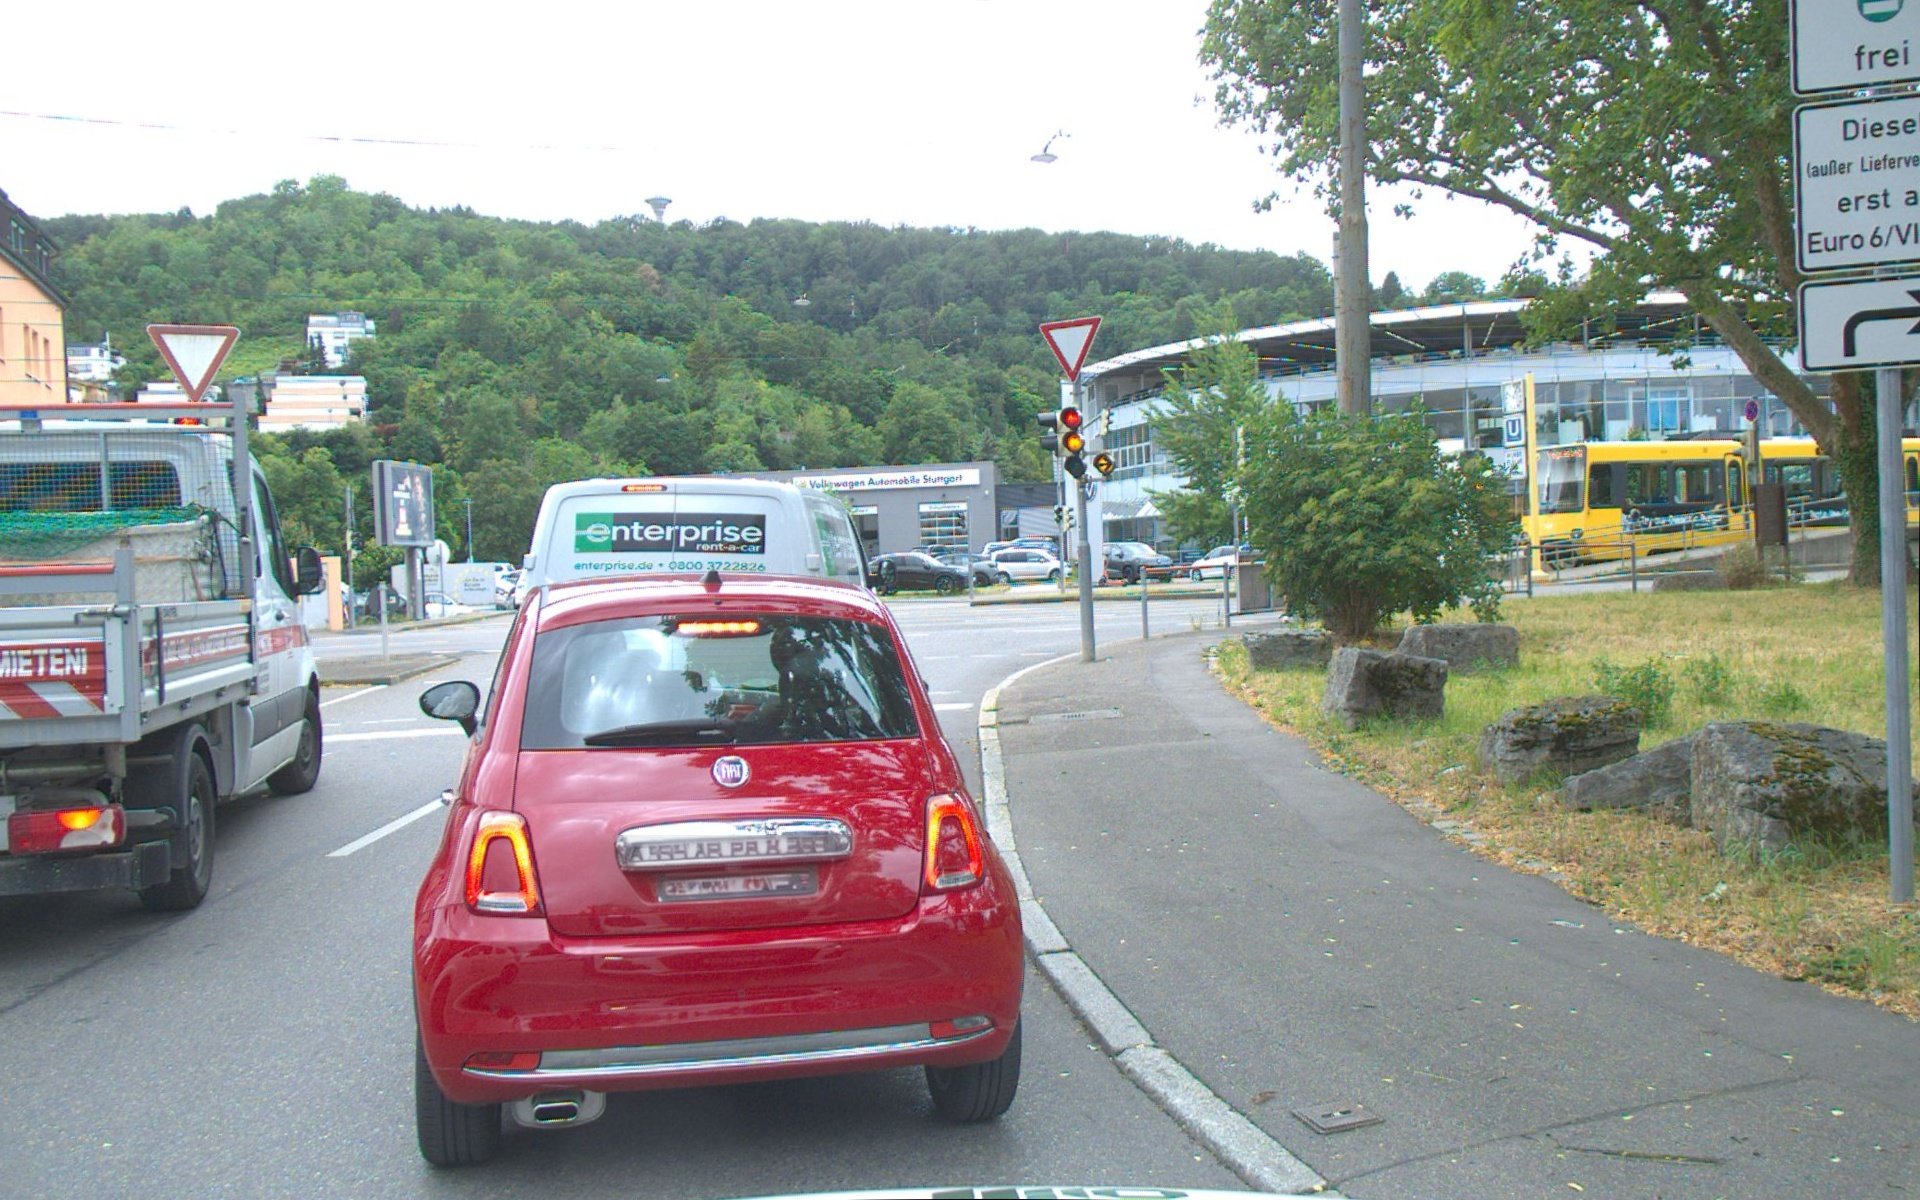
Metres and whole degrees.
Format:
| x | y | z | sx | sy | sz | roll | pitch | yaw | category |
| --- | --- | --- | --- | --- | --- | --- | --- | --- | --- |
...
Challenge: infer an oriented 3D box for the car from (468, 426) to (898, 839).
| x | y | z | sx | sy | sz | roll | pitch | yaw | category |
| --- | --- | --- | --- | --- | --- | --- | --- | --- | --- |
| -1.589 | 0.118 | 11.342 | 1.948 | 2.143 | 4.763 | -3 | 1 | 1 | car |

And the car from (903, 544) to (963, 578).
| x | y | z | sx | sy | sz | roll | pitch | yaw | category |
| --- | --- | --- | --- | --- | --- | --- | --- | --- | --- |
| -1.580 | -2.359 | 99.555 | 1.954 | 1.847 | 3.997 | -2 | 2 | 26 | car |

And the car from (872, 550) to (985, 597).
| x | y | z | sx | sy | sz | roll | pitch | yaw | category |
| --- | --- | --- | --- | --- | --- | --- | --- | --- | --- |
| -1.156 | -0.986 | 61.308 | 3.787 | 1.526 | 1.777 | -2 | 1 | 16 | car |

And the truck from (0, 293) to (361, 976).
| x | y | z | sx | sy | sz | roll | pitch | yaw | category |
| --- | --- | --- | --- | --- | --- | --- | --- | --- | --- |
| -4.820 | 0.128 | 8.671 | 2.381 | 2.439 | 6.008 | -3 | 1 | -14 | truck |

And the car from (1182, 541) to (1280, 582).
| x | y | z | sx | sy | sz | roll | pitch | yaw | category |
| --- | --- | --- | --- | --- | --- | --- | --- | --- | --- |
| 10.952 | -1.549 | 67.024 | 1.753 | 1.526 | 3.979 | -3 | 2 | -31 | car |

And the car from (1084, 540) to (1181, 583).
| x | y | z | sx | sy | sz | roll | pitch | yaw | category |
| --- | --- | --- | --- | --- | --- | --- | --- | --- | --- |
| 6.760 | -1.496 | 65.171 | 1.754 | 1.526 | 3.837 | -3 | 2 | -33 | car |

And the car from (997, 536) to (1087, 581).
| x | y | z | sx | sy | sz | roll | pitch | yaw | category |
| --- | --- | --- | --- | --- | --- | --- | --- | --- | --- |
| 4.426 | -2.266 | 89.688 | 4.696 | 2.194 | 2.234 | -2 | 1 | 2 | car |

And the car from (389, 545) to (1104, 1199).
| x | y | z | sx | sy | sz | roll | pitch | yaw | category |
| --- | --- | --- | --- | --- | --- | --- | --- | --- | --- |
| -0.791 | 0.607 | 5.509 | 1.610 | 1.482 | 3.421 | -2 | 1 | -12 | car |

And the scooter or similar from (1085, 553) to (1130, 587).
| x | y | z | sx | sy | sz | roll | pitch | yaw | category |
| --- | --- | --- | --- | --- | --- | --- | --- | --- | --- |
| 5.557 | -1.135 | 62.388 | 1.633 | 1.198 | 0.468 | -2 | 1 | 6 | scooter or similar |

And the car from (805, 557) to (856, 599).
| x | y | z | sx | sy | sz | roll | pitch | yaw | category |
| --- | --- | --- | --- | --- | --- | --- | --- | --- | --- |
| -6.130 | -1.073 | 78.745 | 1.952 | 1.847 | 4.001 | -2 | 2 | 1 | car |

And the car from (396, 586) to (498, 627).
| x | y | z | sx | sy | sz | roll | pitch | yaw | category |
| --- | --- | --- | --- | --- | --- | --- | --- | --- | --- |
| -22.483 | 0.286 | 72.631 | 4.135 | 1.560 | 1.768 | -3 | 2 | -16 | car |

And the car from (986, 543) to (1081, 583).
| x | y | z | sx | sy | sz | roll | pitch | yaw | category |
| --- | --- | --- | --- | --- | --- | --- | --- | --- | --- |
| 3.757 | -1.897 | 84.682 | 4.696 | 1.834 | 1.776 | -2 | 1 | 2 | car |

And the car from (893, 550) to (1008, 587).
| x | y | z | sx | sy | sz | roll | pitch | yaw | category |
| --- | --- | --- | --- | --- | --- | --- | --- | --- | --- |
| -0.404 | -1.343 | 70.467 | 4.572 | 1.351 | 1.777 | -2 | 1 | 13 | car |

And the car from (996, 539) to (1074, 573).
| x | y | z | sx | sy | sz | roll | pitch | yaw | category |
| --- | --- | --- | --- | --- | --- | --- | --- | --- | --- |
| 4.585 | -2.695 | 101.193 | 4.696 | 1.834 | 1.776 | -2 | 1 | 2 | car |

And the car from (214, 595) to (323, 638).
| x | y | z | sx | sy | sz | roll | pitch | yaw | category |
| --- | --- | --- | --- | --- | --- | --- | --- | --- | --- |
| -29.361 | 0.667 | 70.320 | 4.146 | 1.560 | 1.763 | -3 | 2 | -23 | car |

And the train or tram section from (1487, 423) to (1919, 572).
| x | y | z | sx | sy | sz | roll | pitch | yaw | category |
| --- | --- | --- | --- | --- | --- | --- | --- | --- | --- |
| 23.773 | -3.080 | 47.722 | 18.859 | 3.729 | 3.254 | -3 | 2 | -24 | train or tram section |

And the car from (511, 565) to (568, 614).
| x | y | z | sx | sy | sz | roll | pitch | yaw | category |
| --- | --- | --- | --- | --- | --- | --- | --- | --- | --- |
| -17.291 | -0.458 | 68.137 | 1.826 | 1.849 | 4.393 | -3 | 2 | -9 | car |

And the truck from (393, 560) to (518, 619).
| x | y | z | sx | sy | sz | roll | pitch | yaw | category |
| --- | --- | --- | --- | --- | --- | --- | --- | --- | --- |
| -23.084 | -0.497 | 75.721 | 5.127 | 2.434 | 1.981 | -3 | 2 | -29 | truck |

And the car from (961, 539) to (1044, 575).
| x | y | z | sx | sy | sz | roll | pitch | yaw | category |
| --- | --- | --- | --- | --- | --- | --- | --- | --- | --- |
| 2.473 | -2.498 | 96.267 | 4.696 | 1.834 | 1.776 | -2 | 1 | 2 | car |

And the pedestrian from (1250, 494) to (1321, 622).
| x | y | z | sx | sy | sz | roll | pitch | yaw | category |
| --- | --- | --- | --- | --- | --- | --- | --- | --- | --- |
| 4.961 | -0.641 | 25.218 | 0.683 | 1.889 | 0.783 | -2 | 2 | 43 | pedestrian |

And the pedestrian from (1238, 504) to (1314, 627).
| x | y | z | sx | sy | sz | roll | pitch | yaw | category |
| --- | --- | --- | --- | --- | --- | --- | --- | --- | --- |
| 4.615 | -0.507 | 24.150 | 0.781 | 1.744 | 0.685 | -4 | 1 | -39 | pedestrian |

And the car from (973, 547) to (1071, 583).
| x | y | z | sx | sy | sz | roll | pitch | yaw | category |
| --- | --- | --- | --- | --- | --- | --- | --- | --- | --- |
| 3.058 | -1.731 | 81.127 | 4.696 | 1.560 | 1.776 | -2 | 1 | 2 | car |
